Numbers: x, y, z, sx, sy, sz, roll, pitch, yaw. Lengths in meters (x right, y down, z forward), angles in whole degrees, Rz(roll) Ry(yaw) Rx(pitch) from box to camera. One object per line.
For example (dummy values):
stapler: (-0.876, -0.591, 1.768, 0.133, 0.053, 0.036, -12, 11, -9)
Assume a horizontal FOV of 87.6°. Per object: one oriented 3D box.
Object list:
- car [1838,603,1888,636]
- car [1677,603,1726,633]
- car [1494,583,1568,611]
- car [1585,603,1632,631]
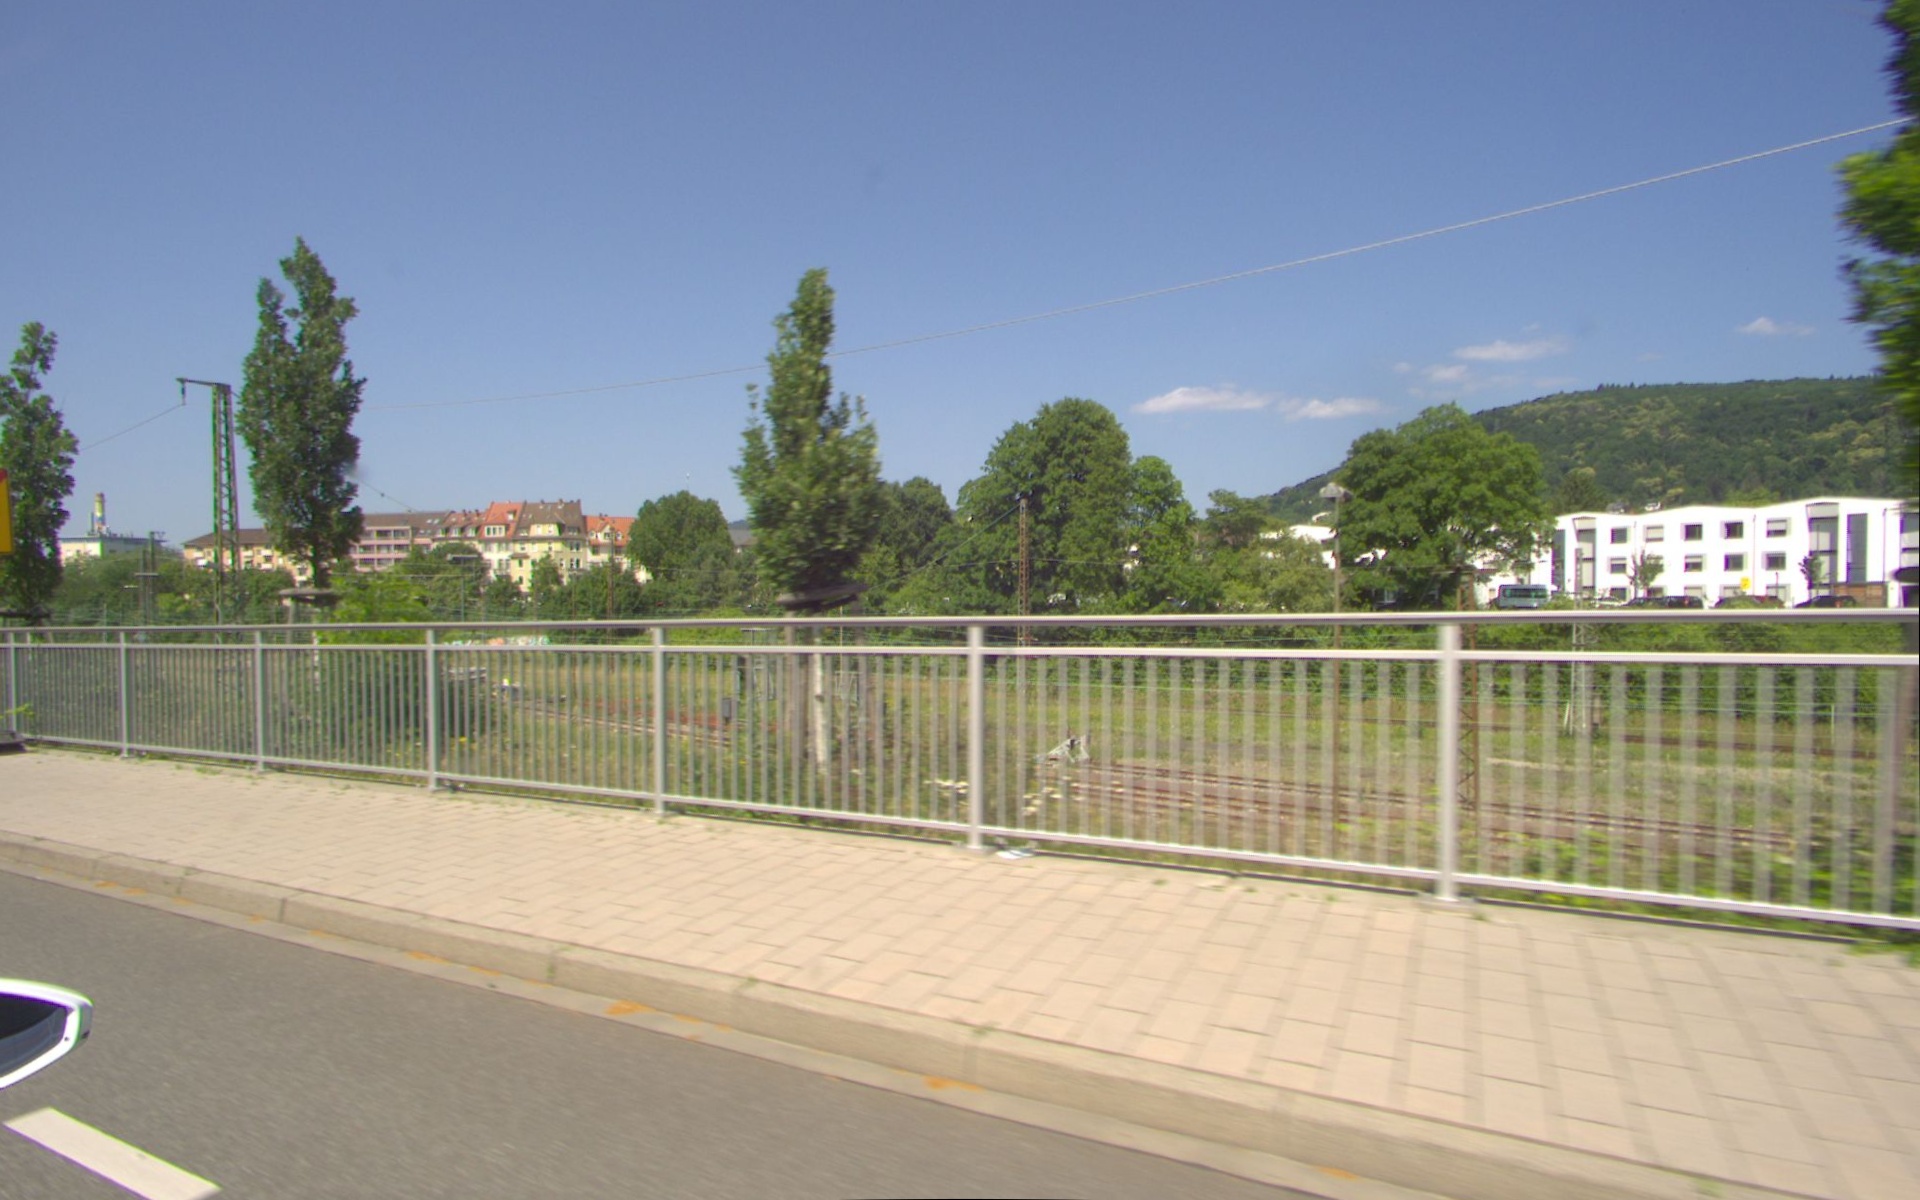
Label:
car: (59.411, 1.272, 65.858, 4.422, 2.041, 1.982, -1, 1, -41)
car: (54.016, 1.295, 72.935, 4.422, 2.041, 1.982, -1, 1, -41)
car: (44.008, -0.223, 77.248, 4.919, 2.141, 1.989, 0, 1, 32)
car: (50.986, 1.301, 78.730, 4.422, 2.041, 1.982, -1, 1, -41)
